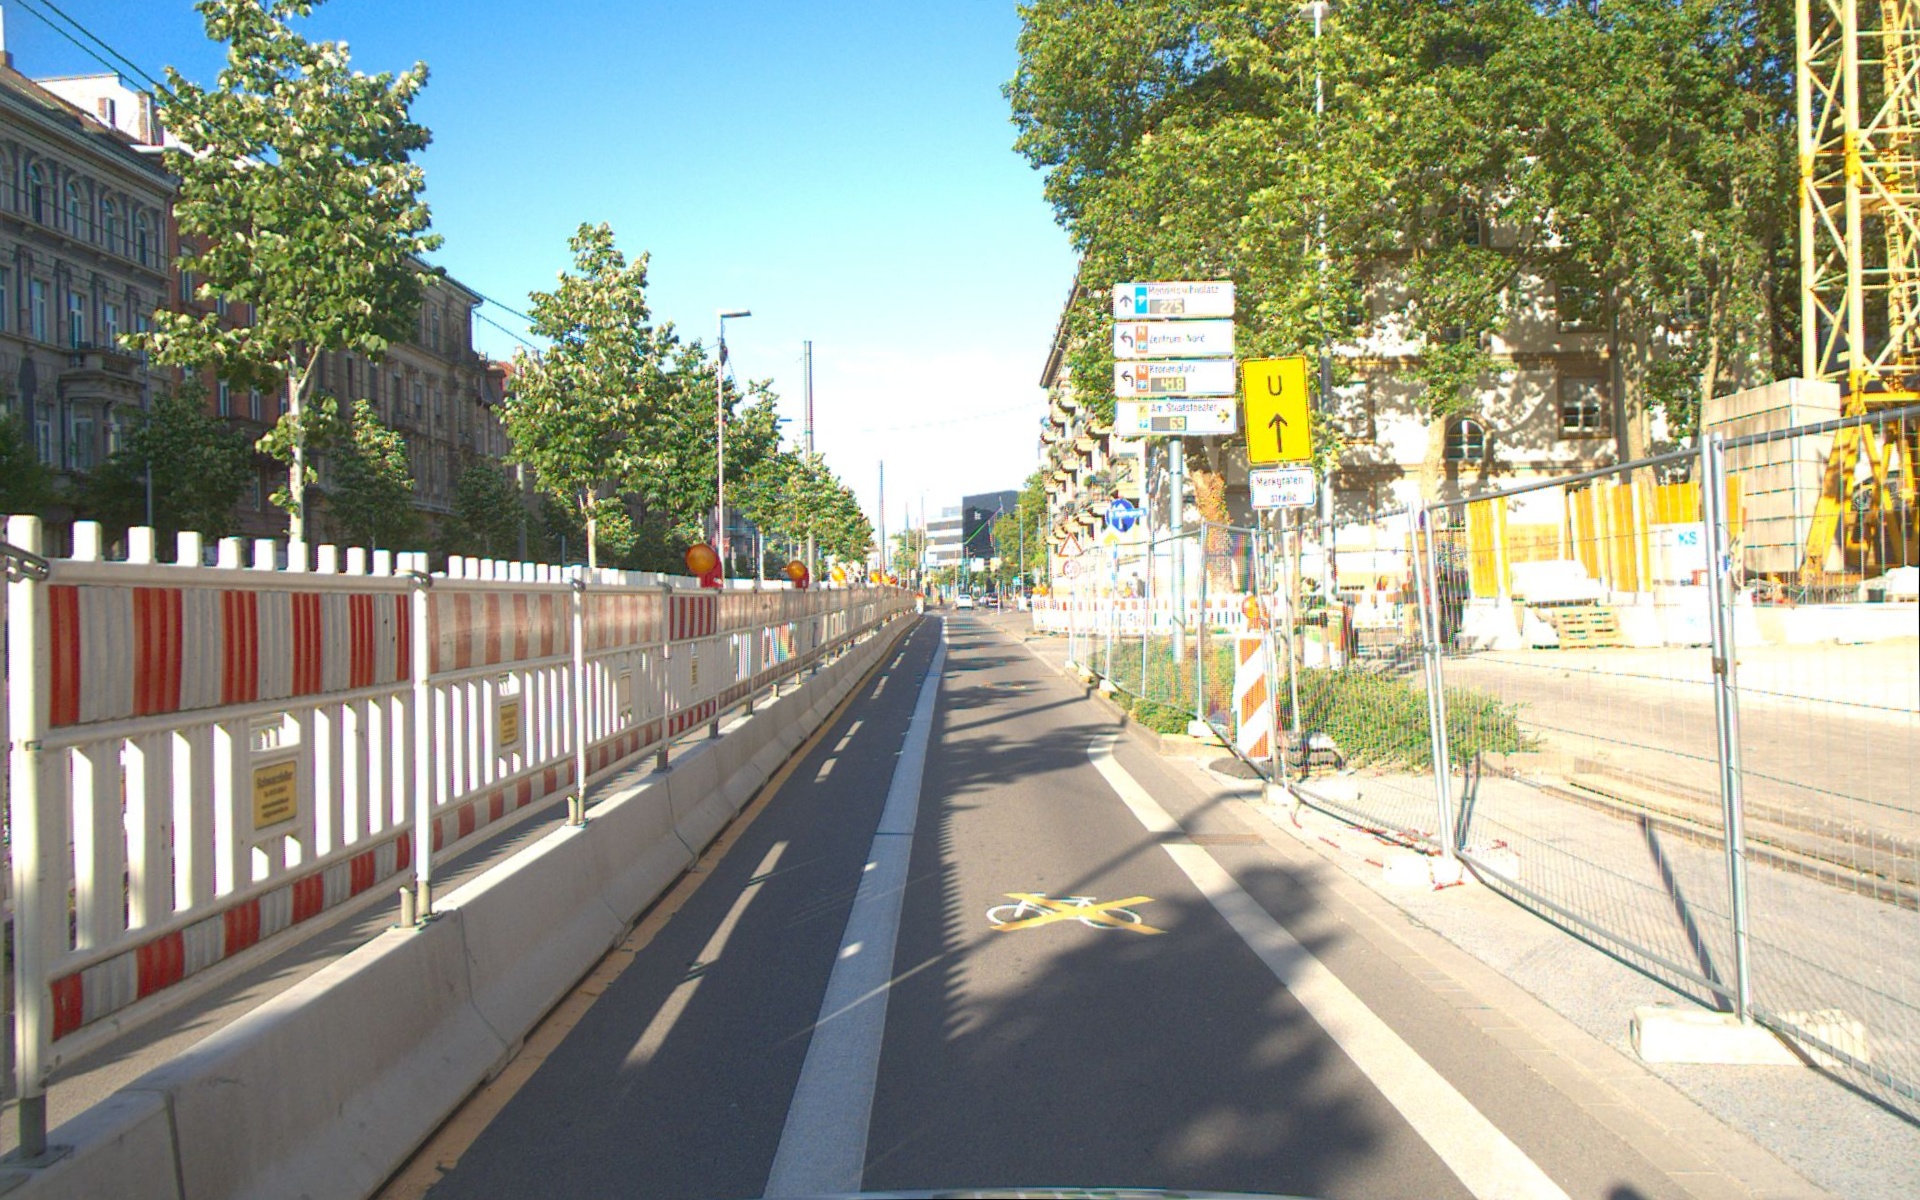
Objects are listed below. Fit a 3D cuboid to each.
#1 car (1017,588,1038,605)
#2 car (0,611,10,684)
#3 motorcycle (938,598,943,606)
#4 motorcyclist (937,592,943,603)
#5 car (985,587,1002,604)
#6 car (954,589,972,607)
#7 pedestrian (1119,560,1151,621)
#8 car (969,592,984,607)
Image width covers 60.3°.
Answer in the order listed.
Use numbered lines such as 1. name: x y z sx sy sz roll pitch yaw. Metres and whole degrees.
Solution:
1. car: 6.490 -0.353 158.707 1.844 1.617 3.668 -1 1 0
2. car: -21.682 1.081 34.070 1.534 1.590 4.714 -1 1 -1
3. motorcycle: -2.489 0.236 207.311 0.618 0.912 1.621 -1 1 0
4. motorcyclist: -2.503 -0.303 207.381 0.618 1.285 0.605 -1 0 -1
5. car: 3.787 -0.520 186.654 1.845 1.875 3.667 -1 1 0
6. car: 0.331 -0.219 176.151 1.845 1.875 3.667 -1 1 0
7. pedestrian: 5.142 -0.275 48.670 0.658 1.776 0.774 -2 0 -18
8. car: 2.152 -0.073 212.515 1.845 1.875 3.667 -1 1 0
